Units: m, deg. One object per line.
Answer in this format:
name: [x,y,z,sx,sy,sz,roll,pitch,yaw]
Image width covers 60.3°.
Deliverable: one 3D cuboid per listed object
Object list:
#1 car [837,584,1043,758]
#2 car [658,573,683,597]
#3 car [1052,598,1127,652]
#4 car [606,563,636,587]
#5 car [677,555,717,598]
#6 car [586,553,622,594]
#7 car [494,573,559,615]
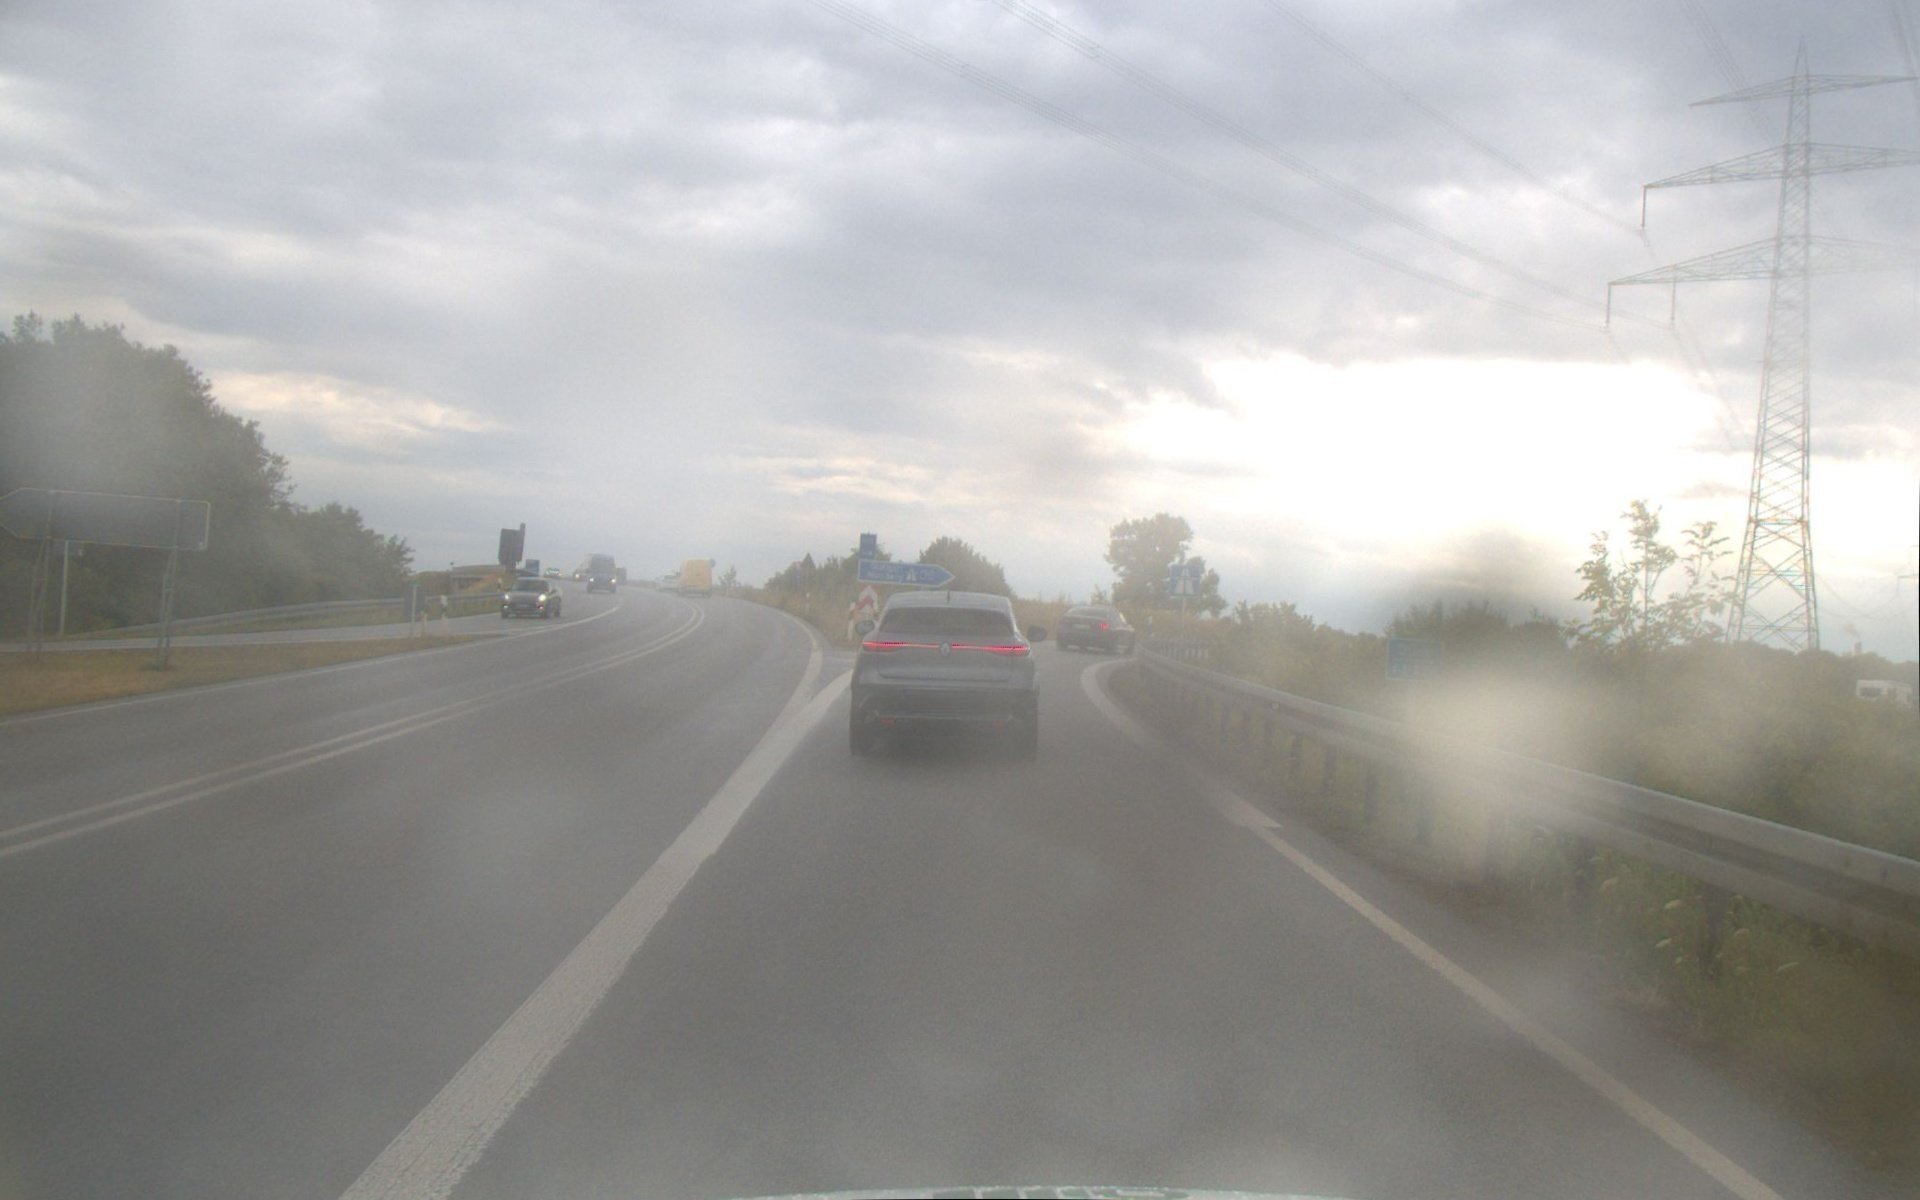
car: [-0.213,0.645,16.255,1.755,1.466,3.998,1,-1,-1]
car: [-23.140,-1.152,132.227,1.760,1.717,3.986,2,-2,-13]
car: [4.246,0.842,53.624,1.754,1.466,4.002,5,-2,13]
car: [-36.053,-2.618,175.761,2.561,2.290,5.507,2,-2,-17]
car: [-18.241,-1.642,115.000,2.525,2.772,7.182,3,1,-9]
car: [-25.683,-1.898,119.212,2.311,2.748,6.973,4,0,-12]
car: [-15.883,-0.186,60.792,1.711,1.389,4.044,-2,-1,-7]
